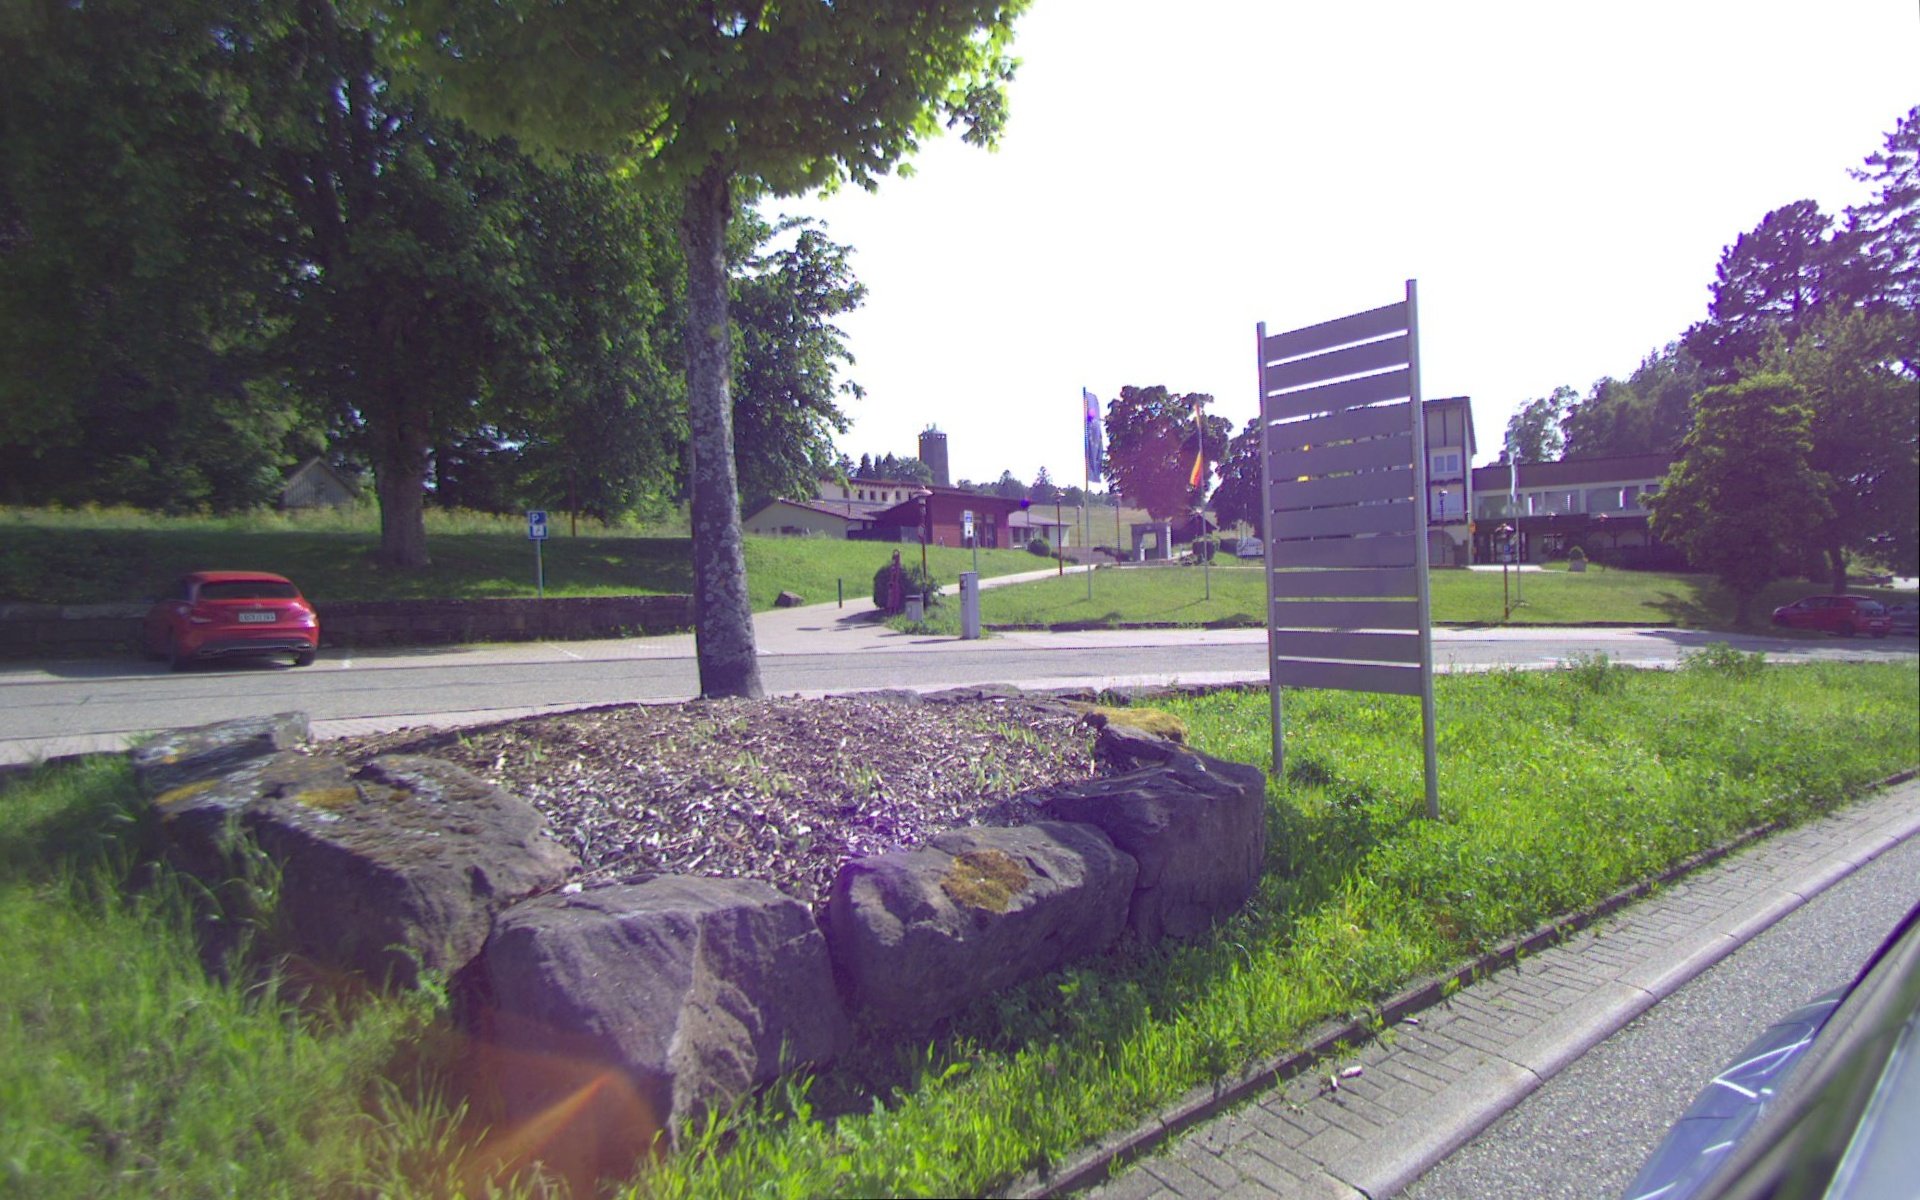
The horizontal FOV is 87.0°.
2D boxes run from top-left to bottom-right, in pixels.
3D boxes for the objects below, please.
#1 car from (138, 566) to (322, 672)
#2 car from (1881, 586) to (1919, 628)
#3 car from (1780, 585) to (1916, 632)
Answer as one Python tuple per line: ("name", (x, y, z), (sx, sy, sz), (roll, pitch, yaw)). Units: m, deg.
("car", (-11.565, 0.190, 15.919), (4.254, 1.446, 1.675), (2, 3, 45))
("car", (35.193, 0.327, 35.852), (1.652, 1.444, 3.544), (2, 4, -3))
("car", (31.771, 0.268, 36.327), (1.679, 1.420, 3.320), (0, 4, -7))
